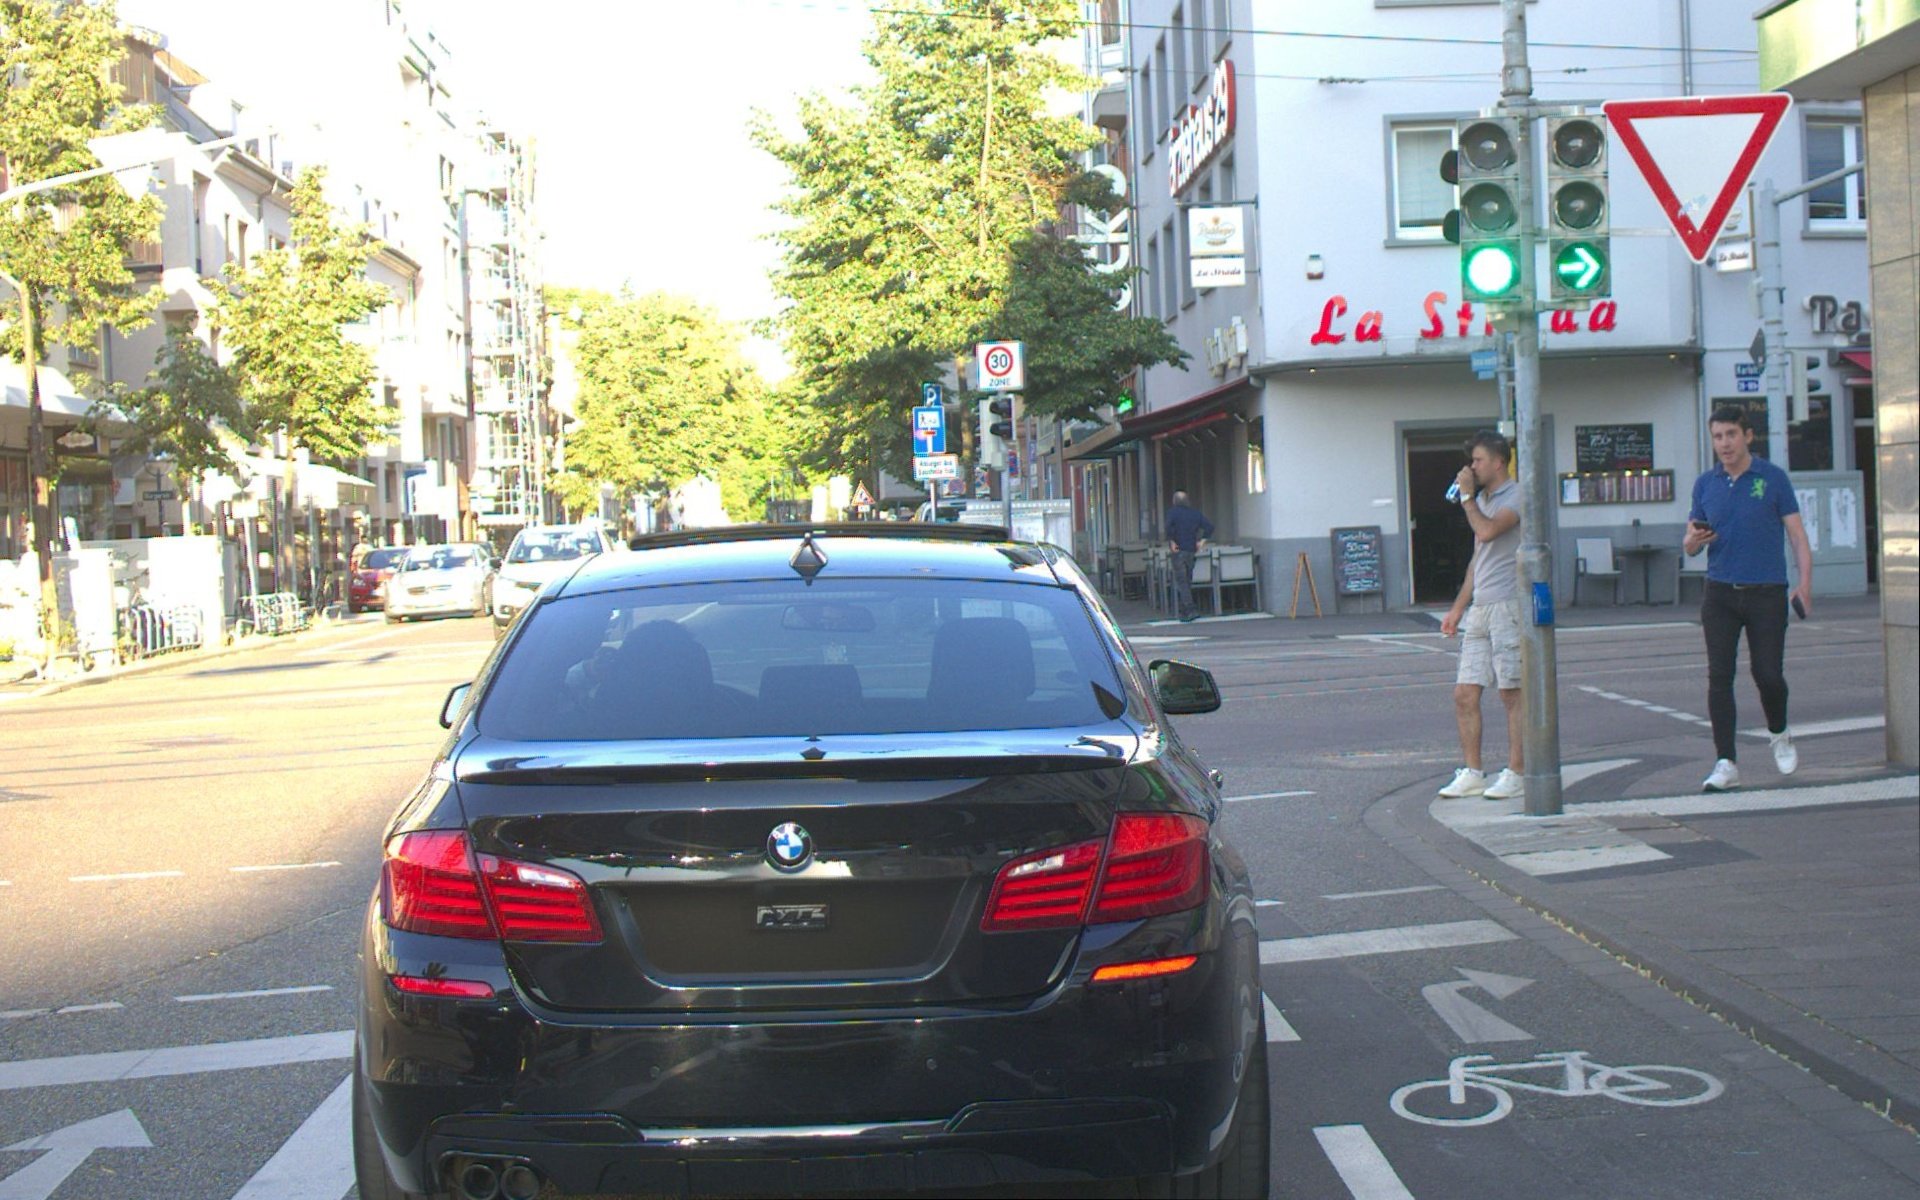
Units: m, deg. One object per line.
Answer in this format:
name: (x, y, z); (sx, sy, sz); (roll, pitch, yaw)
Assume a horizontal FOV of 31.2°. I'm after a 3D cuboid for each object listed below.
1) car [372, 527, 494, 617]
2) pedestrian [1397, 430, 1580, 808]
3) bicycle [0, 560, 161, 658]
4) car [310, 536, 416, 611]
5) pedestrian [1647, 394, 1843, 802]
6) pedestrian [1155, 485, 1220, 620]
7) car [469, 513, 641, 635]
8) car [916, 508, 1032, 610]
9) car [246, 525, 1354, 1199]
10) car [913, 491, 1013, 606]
car: (-9.824, -0.550, 64.284); (1.834, 1.551, 3.780); (-2, 1, -3)
pedestrian: (2.507, 0.083, 16.365); (0.651, 1.736, 0.694); (-2, 1, -6)
bicycle: (-11.711, 0.114, 44.997); (2.366, 1.248, 0.640); (-1, 1, -6)
car: (-13.307, -0.594, 76.768); (1.834, 1.551, 3.780); (-3, 1, -3)
pedestrian: (3.652, -0.019, 16.057); (0.691, 1.821, 0.880); (-3, 1, 5)
pedestrian: (2.889, -0.608, 43.681); (0.711, 1.670, 0.703); (-2, 1, -2)
car: (-5.714, -0.372, 48.967); (2.108, 1.551, 4.013); (-3, 1, -3)
car: (0.234, -0.642, 52.302); (1.640, 1.439, 3.607); (-2, 1, 1)
car: (-0.305, 0.571, 8.314); (1.953, 1.493, 4.465); (0, 1, -1)
car: (0.079, -0.912, 58.967); (1.640, 1.867, 3.607); (1, 2, 1)
